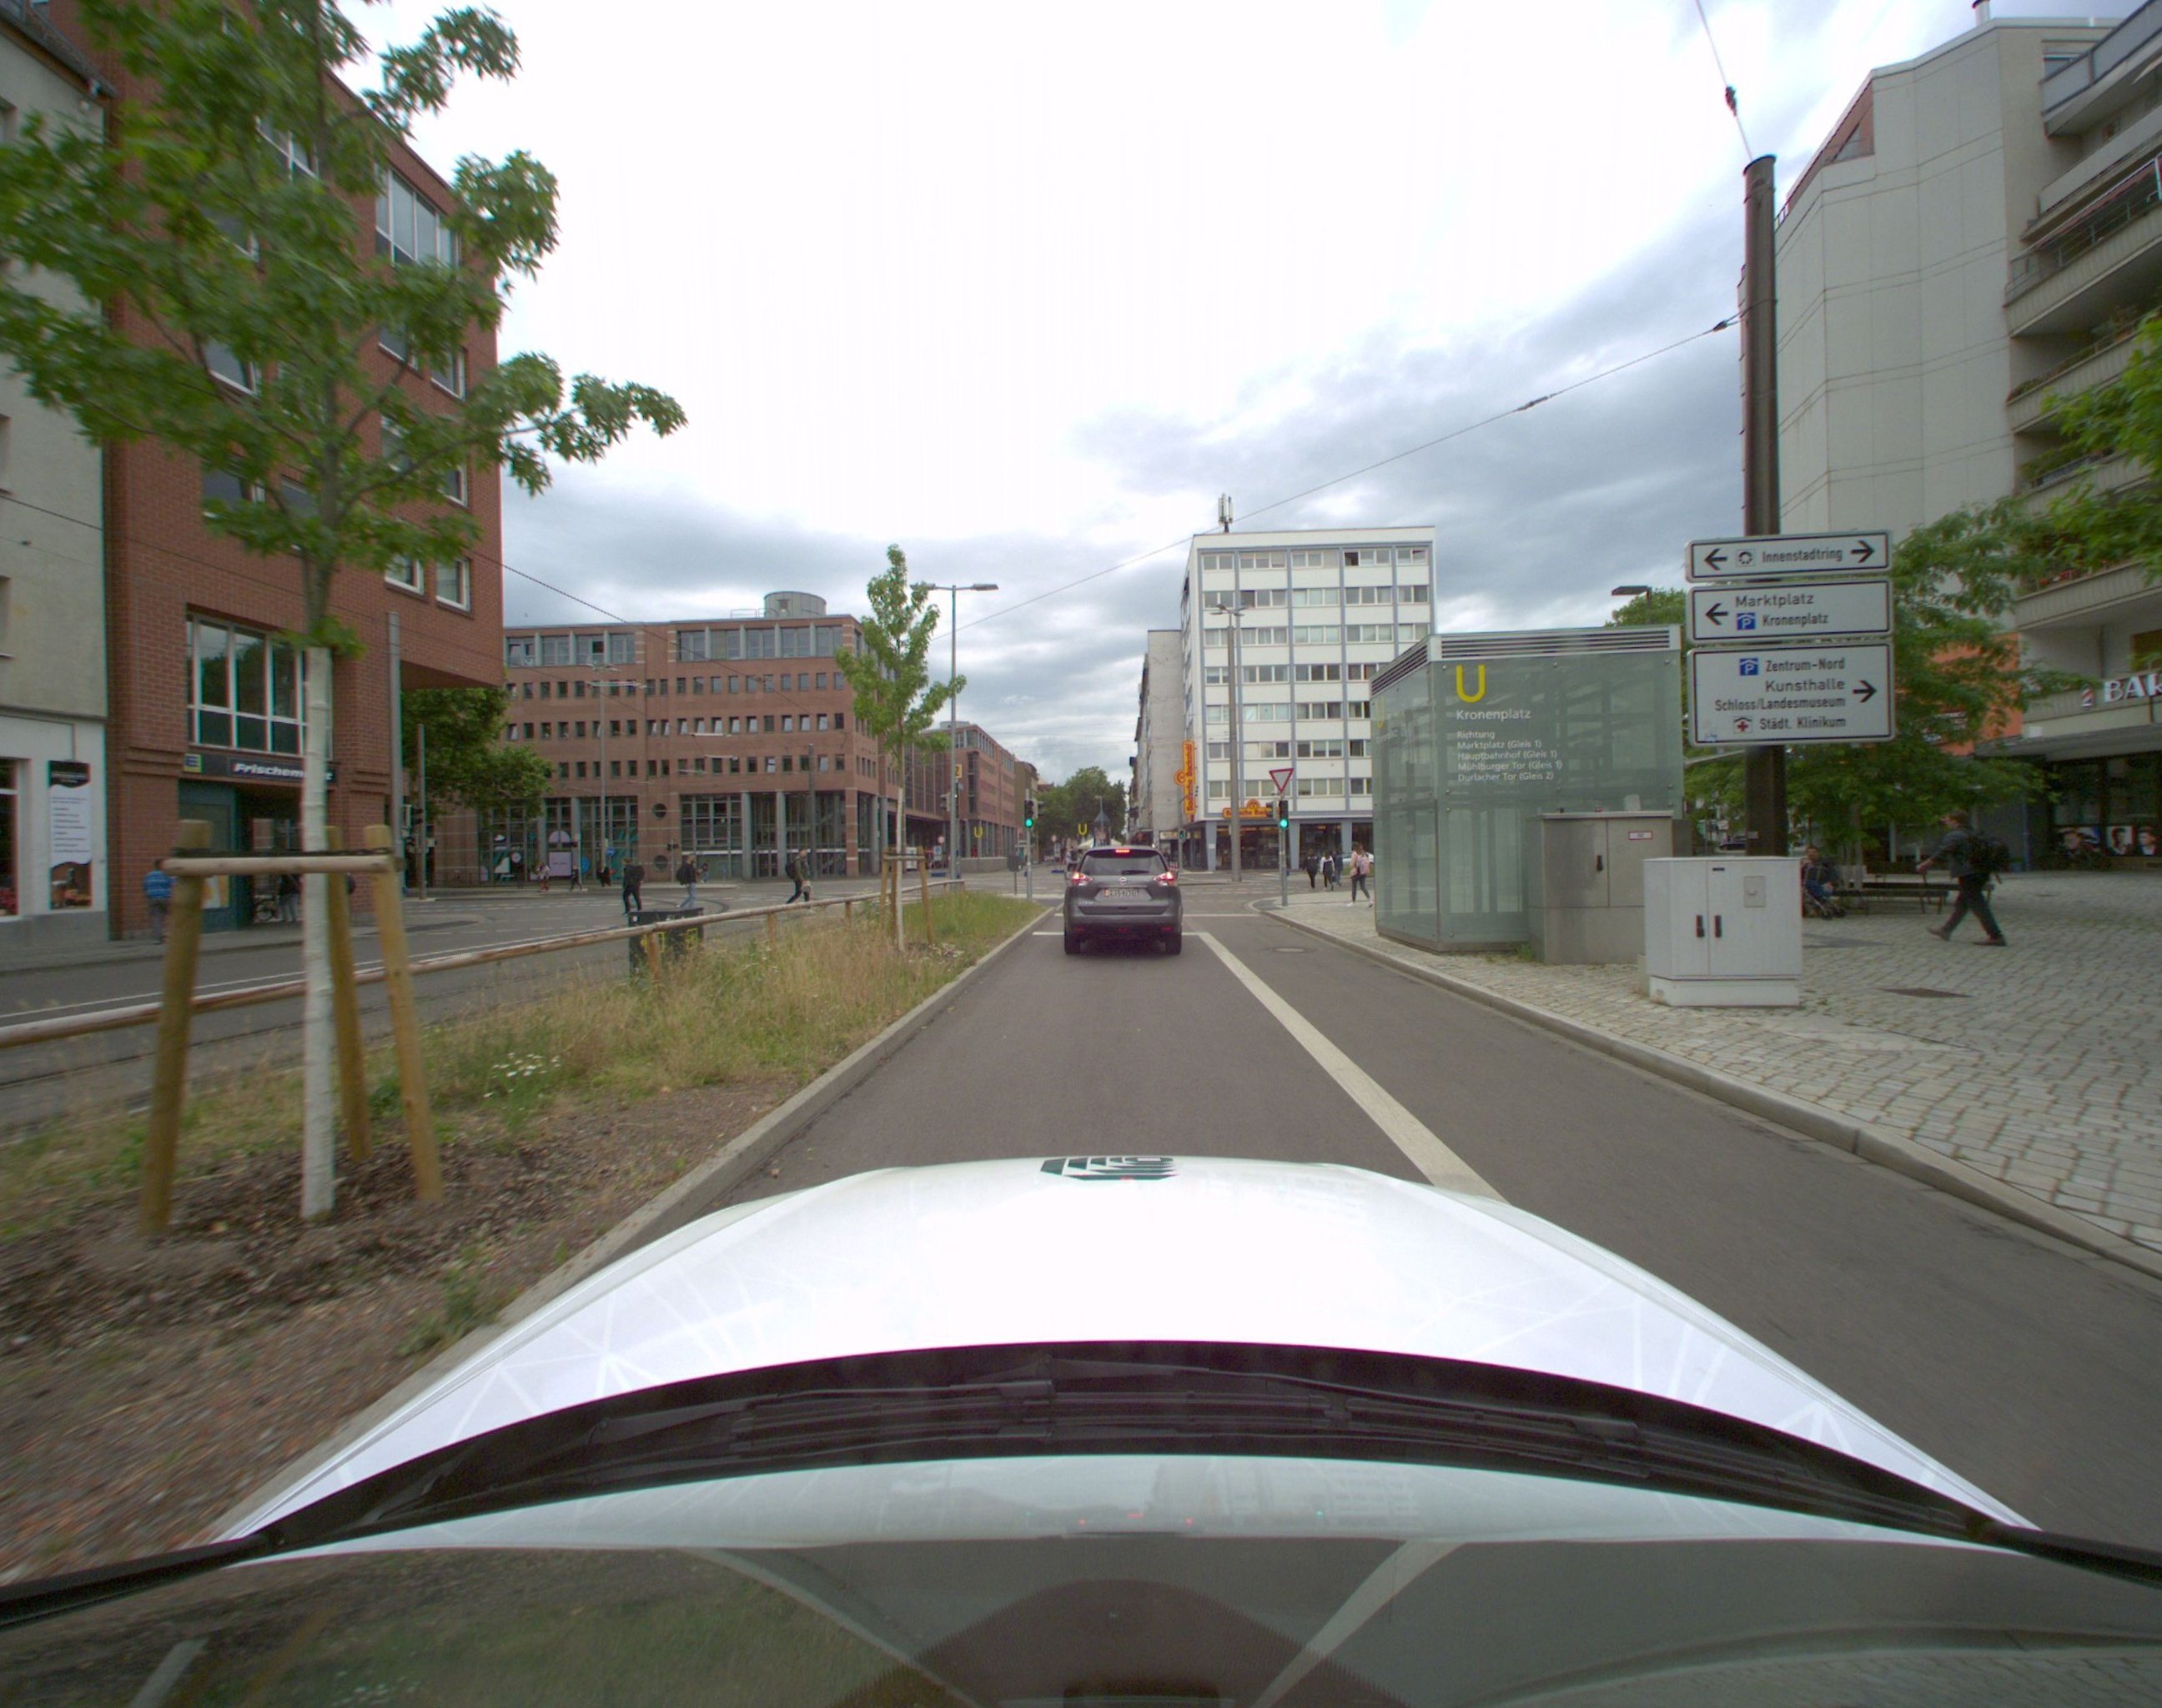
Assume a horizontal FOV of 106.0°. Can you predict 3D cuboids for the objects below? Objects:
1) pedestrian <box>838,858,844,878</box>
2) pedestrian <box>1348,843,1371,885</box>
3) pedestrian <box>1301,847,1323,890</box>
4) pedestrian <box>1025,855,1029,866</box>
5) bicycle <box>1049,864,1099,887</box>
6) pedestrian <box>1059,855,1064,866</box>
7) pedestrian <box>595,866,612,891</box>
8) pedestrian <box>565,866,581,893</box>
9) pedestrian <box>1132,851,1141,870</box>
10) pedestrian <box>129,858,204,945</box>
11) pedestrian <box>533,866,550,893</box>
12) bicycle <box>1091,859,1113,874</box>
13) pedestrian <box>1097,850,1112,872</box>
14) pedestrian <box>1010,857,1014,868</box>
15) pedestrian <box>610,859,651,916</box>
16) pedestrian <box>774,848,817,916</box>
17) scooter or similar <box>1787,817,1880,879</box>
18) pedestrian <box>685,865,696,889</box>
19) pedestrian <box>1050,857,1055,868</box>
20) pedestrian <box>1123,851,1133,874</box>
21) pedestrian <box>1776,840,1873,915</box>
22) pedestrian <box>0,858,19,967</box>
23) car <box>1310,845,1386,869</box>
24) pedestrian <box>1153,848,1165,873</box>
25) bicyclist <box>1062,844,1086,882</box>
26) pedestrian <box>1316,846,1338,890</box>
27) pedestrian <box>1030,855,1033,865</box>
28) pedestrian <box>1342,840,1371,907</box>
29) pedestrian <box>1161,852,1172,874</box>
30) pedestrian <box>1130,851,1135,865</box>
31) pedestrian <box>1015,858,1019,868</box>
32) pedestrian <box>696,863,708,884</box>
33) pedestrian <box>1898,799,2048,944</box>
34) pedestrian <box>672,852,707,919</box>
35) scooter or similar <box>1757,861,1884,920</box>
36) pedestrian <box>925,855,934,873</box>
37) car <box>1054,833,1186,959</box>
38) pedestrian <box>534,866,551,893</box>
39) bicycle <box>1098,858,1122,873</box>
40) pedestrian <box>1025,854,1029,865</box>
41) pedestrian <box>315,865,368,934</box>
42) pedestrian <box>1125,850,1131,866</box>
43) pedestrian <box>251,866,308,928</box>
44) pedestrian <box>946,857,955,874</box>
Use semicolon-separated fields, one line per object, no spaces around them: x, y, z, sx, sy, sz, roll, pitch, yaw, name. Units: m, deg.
-19.077;1.098;64.823;0.449;1.532;0.519;0;0;-15;pedestrian
12.821;0.460;37.528;0.797;1.862;1.157;-3;-1;13;pedestrian
9.533;0.595;33.615;0.620;1.761;0.778;0;0;-5;pedestrian
-8.346;1.030;125.948;0.599;1.714;0.654;0;0;-5;pedestrian
-0.374;1.053;40.285;0.908;1.045;3.245;-1;0;-31;bicycle
-3.070;1.016;128.208;0.599;1.714;0.654;0;0;-5;pedestrian
-30.171;1.554;51.424;0.569;1.560;0.746;0;-2;8;pedestrian
-30.544;1.525;48.960;0.571;1.574;0.629;0;-2;-5;pedestrian
5.351;0.652;78.516;0.735;1.821;0.662;-1;0;0;pedestrian
-18.191;0.929;16.211;0.659;1.687;0.721;-1;-2;-6;pedestrian
-32.110;1.508;48.467;0.571;1.612;0.629;0;-2;-5;pedestrian
1.659;0.959;64.865;1.695;1.172;0.436;0;0;-10;bicycle
1.812;0.551;62.535;0.918;1.705;0.738;0;0;22;pedestrian
-11.234;1.403;132.629;0.599;1.714;0.654;0;0;-5;pedestrian
-13.467;0.986;24.367;0.741;1.684;0.798;0;-1;-2;pedestrian
-8.030;0.786;22.960;0.893;1.890;0.799;0;-1;0;pedestrian
23.474;-0.185;25.479;1.077;1.806;2.281;-2;0;11;scooter or similar
-28.464;1.674;59.370;0.745;1.688;0.570;0;-2;-24;pedestrian
-3.900;1.154;111.328;0.599;1.536;0.654;0;0;-5;pedestrian
3.683;0.663;64.040;0.731;1.745;0.662;0;0;-5;pedestrian
13.558;0.425;14.881;1.038;1.297;0.734;-3;0;8;pedestrian
-17.114;0.913;12.492;0.660;1.687;0.720;-1;-2;-10;pedestrian
17.981;0.207;54.986;4.537;1.481;1.748;-2;0;0;car
5.655;0.466;59.259;0.711;1.832;1.015;0;0;-5;pedestrian
-0.346;0.440;40.174;0.839;1.812;0.869;0;0;-31;bicyclist
10.182;0.572;33.689;0.620;1.761;0.778;0;0;-5;pedestrian
-8.266;1.034;136.264;0.599;1.714;0.654;0;0;-5;pedestrian
7.314;0.506;21.648;0.521;1.761;0.601;0;0;-5;pedestrian
6.531;0.684;62.051;0.705;1.705;0.737;0;0;15;pedestrian
6.426;0.485;101.753;0.609;1.705;0.620;0;0;3;pedestrian
-10.370;1.434;132.623;0.599;1.714;0.654;0;0;-5;pedestrian
-28.108;1.467;60.372;0.744;1.560;0.570;0;-2;-21;pedestrian
11.889;0.227;10.903;0.711;1.802;1.078;-4;-1;2;pedestrian
-11.349;0.902;23.625;0.608;1.890;0.799;-1;-1;0;pedestrian
12.855;0.642;14.215;1.572;0.948;0.729;-3;0;41;scooter or similar
-15.935;1.069;85.869;0.737;1.842;0.695;0;0;-32;pedestrian
0.703;0.652;14.083;1.855;1.775;4.570;-2;-1;3;car
-32.554;1.515;49.251;0.571;1.612;0.629;0;-2;-5;pedestrian
2.280;0.942;64.468;1.868;1.172;0.529;0;0;-12;bicycle
-8.076;0.853;121.994;0.599;1.714;0.654;0;0;-5;pedestrian
-18.493;1.112;20.381;0.567;1.684;0.798;0;-1;-2;pedestrian
5.012;0.409;86.909;0.640;1.705;0.559;0;0;3;pedestrian
-22.114;1.170;22.492;0.741;1.684;0.798;0;-1;-2;pedestrian
-14.592;1.291;90.942;0.694;1.842;0.738;0;0;22;pedestrian
